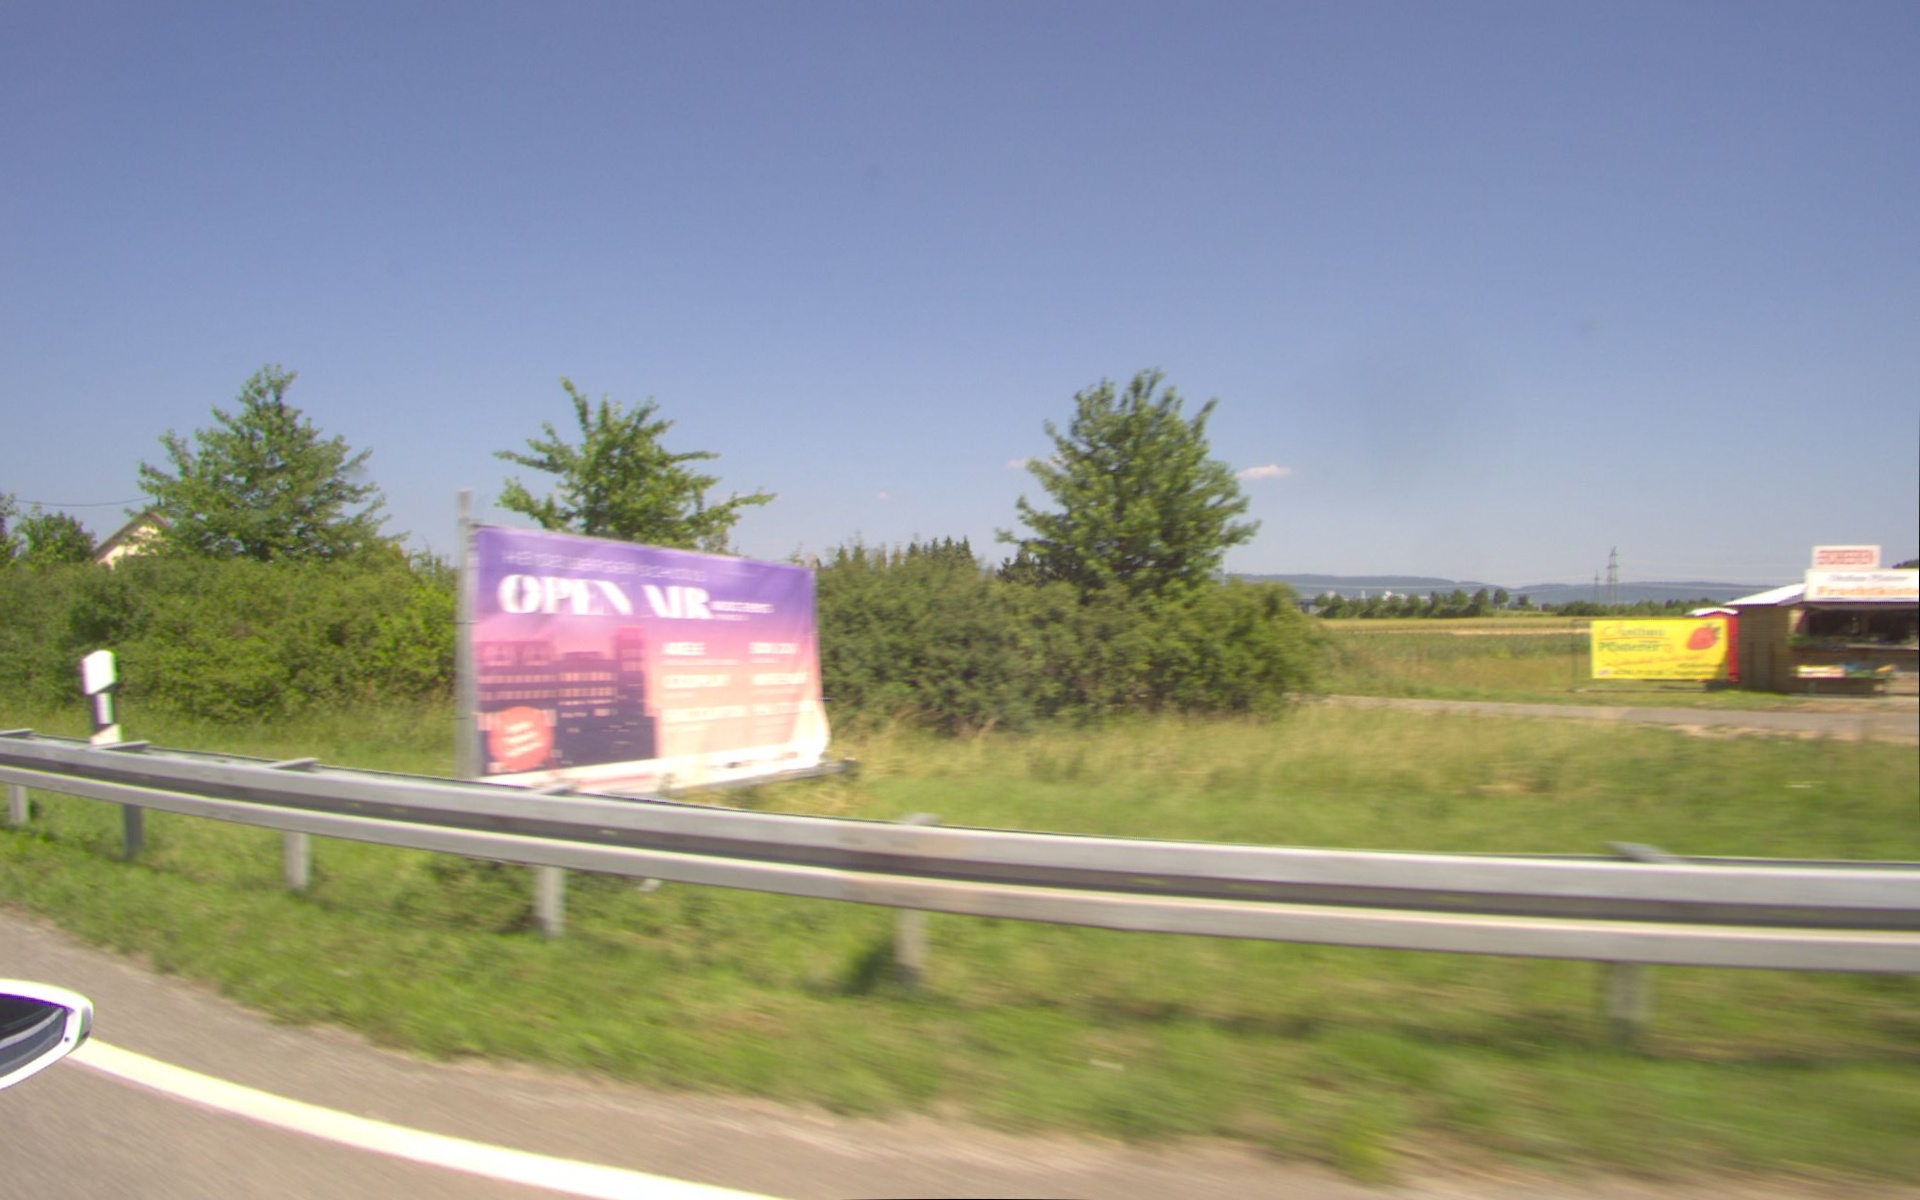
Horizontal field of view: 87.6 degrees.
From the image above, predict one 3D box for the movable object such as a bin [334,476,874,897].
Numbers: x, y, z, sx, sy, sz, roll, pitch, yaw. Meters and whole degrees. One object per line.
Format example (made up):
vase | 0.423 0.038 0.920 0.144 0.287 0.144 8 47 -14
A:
movable object such as a bin | -2.336 0.583 7.724 1.258 2.360 4.092 -1 -3 29
